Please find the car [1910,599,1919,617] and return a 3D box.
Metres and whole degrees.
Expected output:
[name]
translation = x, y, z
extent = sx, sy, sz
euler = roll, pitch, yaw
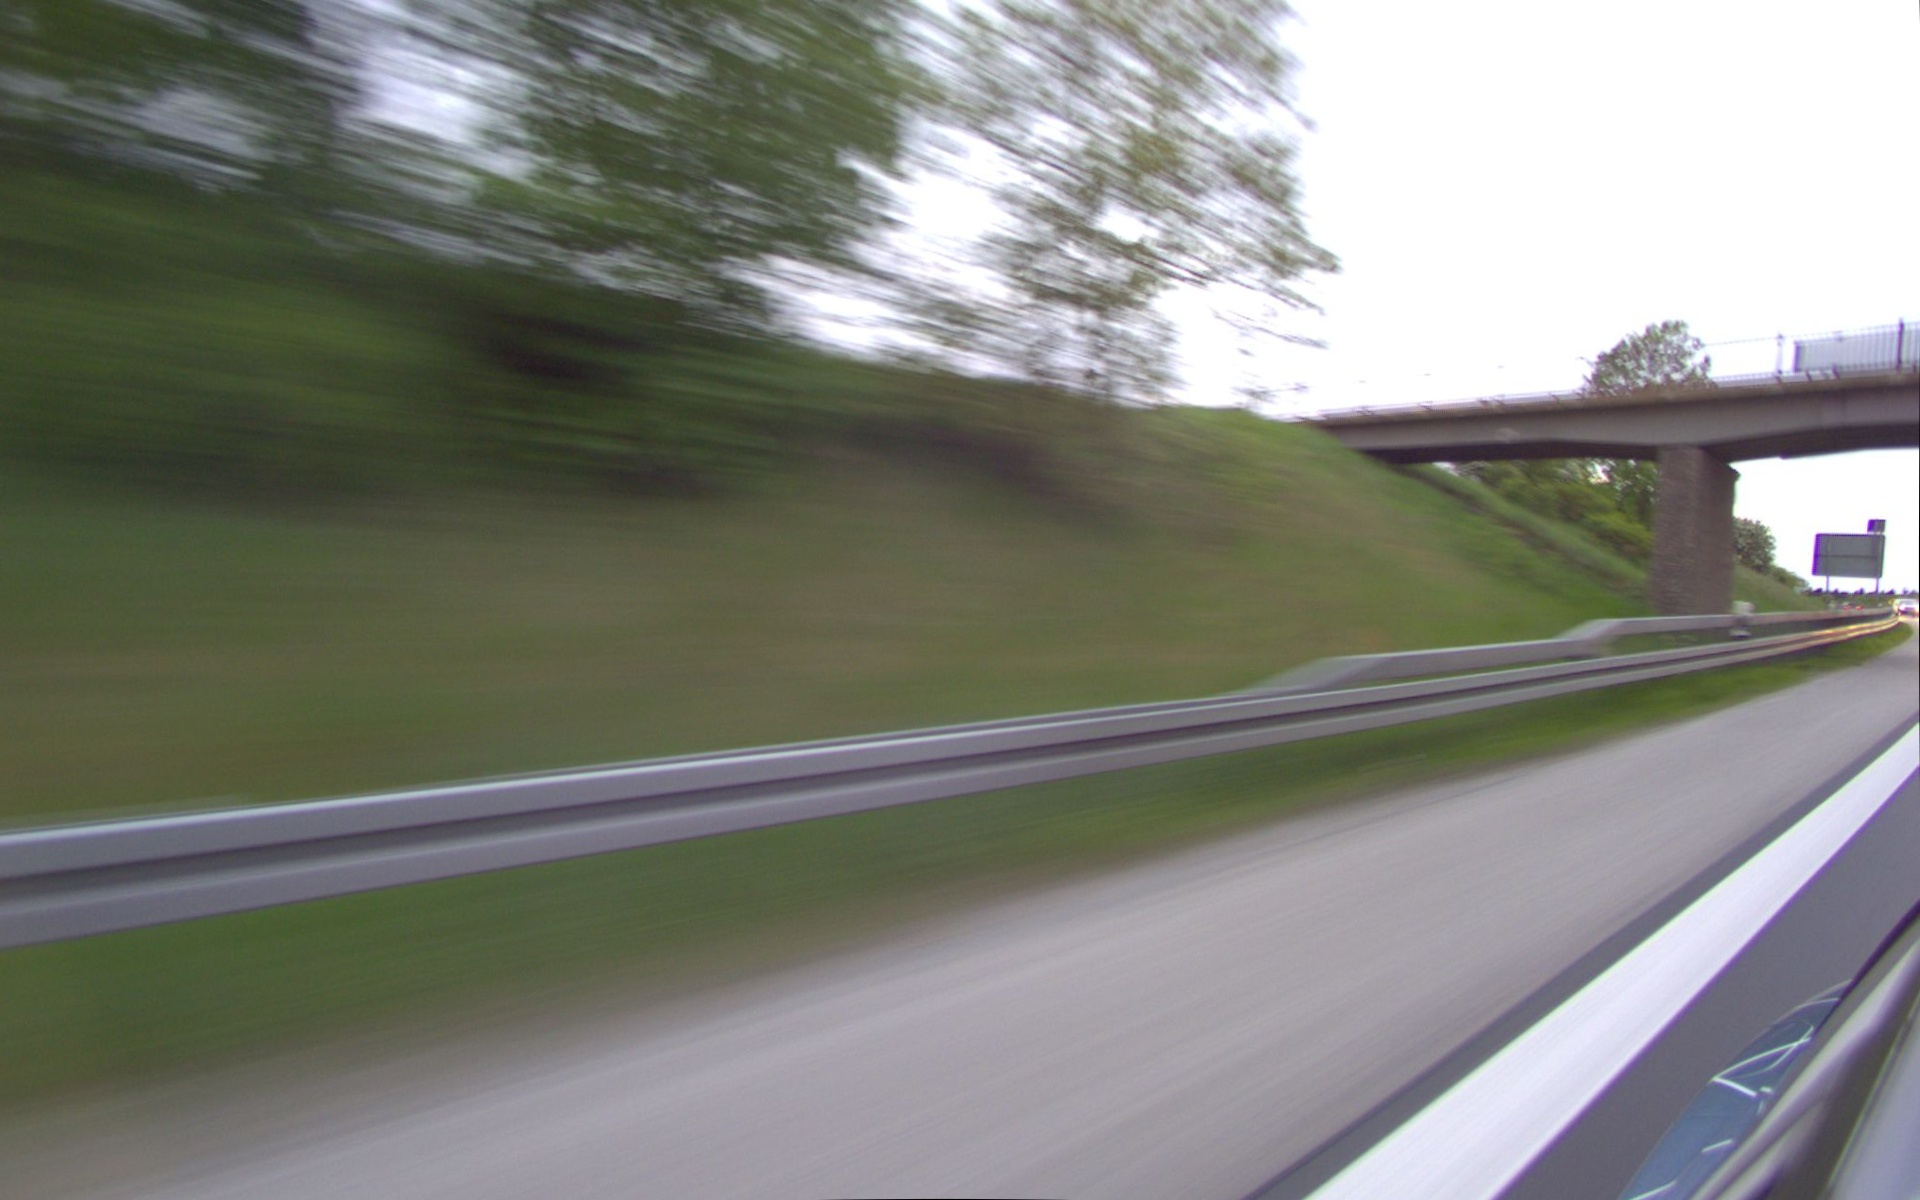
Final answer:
[car]
translation = 105.089, 0.902, 110.344
extent = 1.913, 1.860, 3.940
euler = 4, 2, 41
